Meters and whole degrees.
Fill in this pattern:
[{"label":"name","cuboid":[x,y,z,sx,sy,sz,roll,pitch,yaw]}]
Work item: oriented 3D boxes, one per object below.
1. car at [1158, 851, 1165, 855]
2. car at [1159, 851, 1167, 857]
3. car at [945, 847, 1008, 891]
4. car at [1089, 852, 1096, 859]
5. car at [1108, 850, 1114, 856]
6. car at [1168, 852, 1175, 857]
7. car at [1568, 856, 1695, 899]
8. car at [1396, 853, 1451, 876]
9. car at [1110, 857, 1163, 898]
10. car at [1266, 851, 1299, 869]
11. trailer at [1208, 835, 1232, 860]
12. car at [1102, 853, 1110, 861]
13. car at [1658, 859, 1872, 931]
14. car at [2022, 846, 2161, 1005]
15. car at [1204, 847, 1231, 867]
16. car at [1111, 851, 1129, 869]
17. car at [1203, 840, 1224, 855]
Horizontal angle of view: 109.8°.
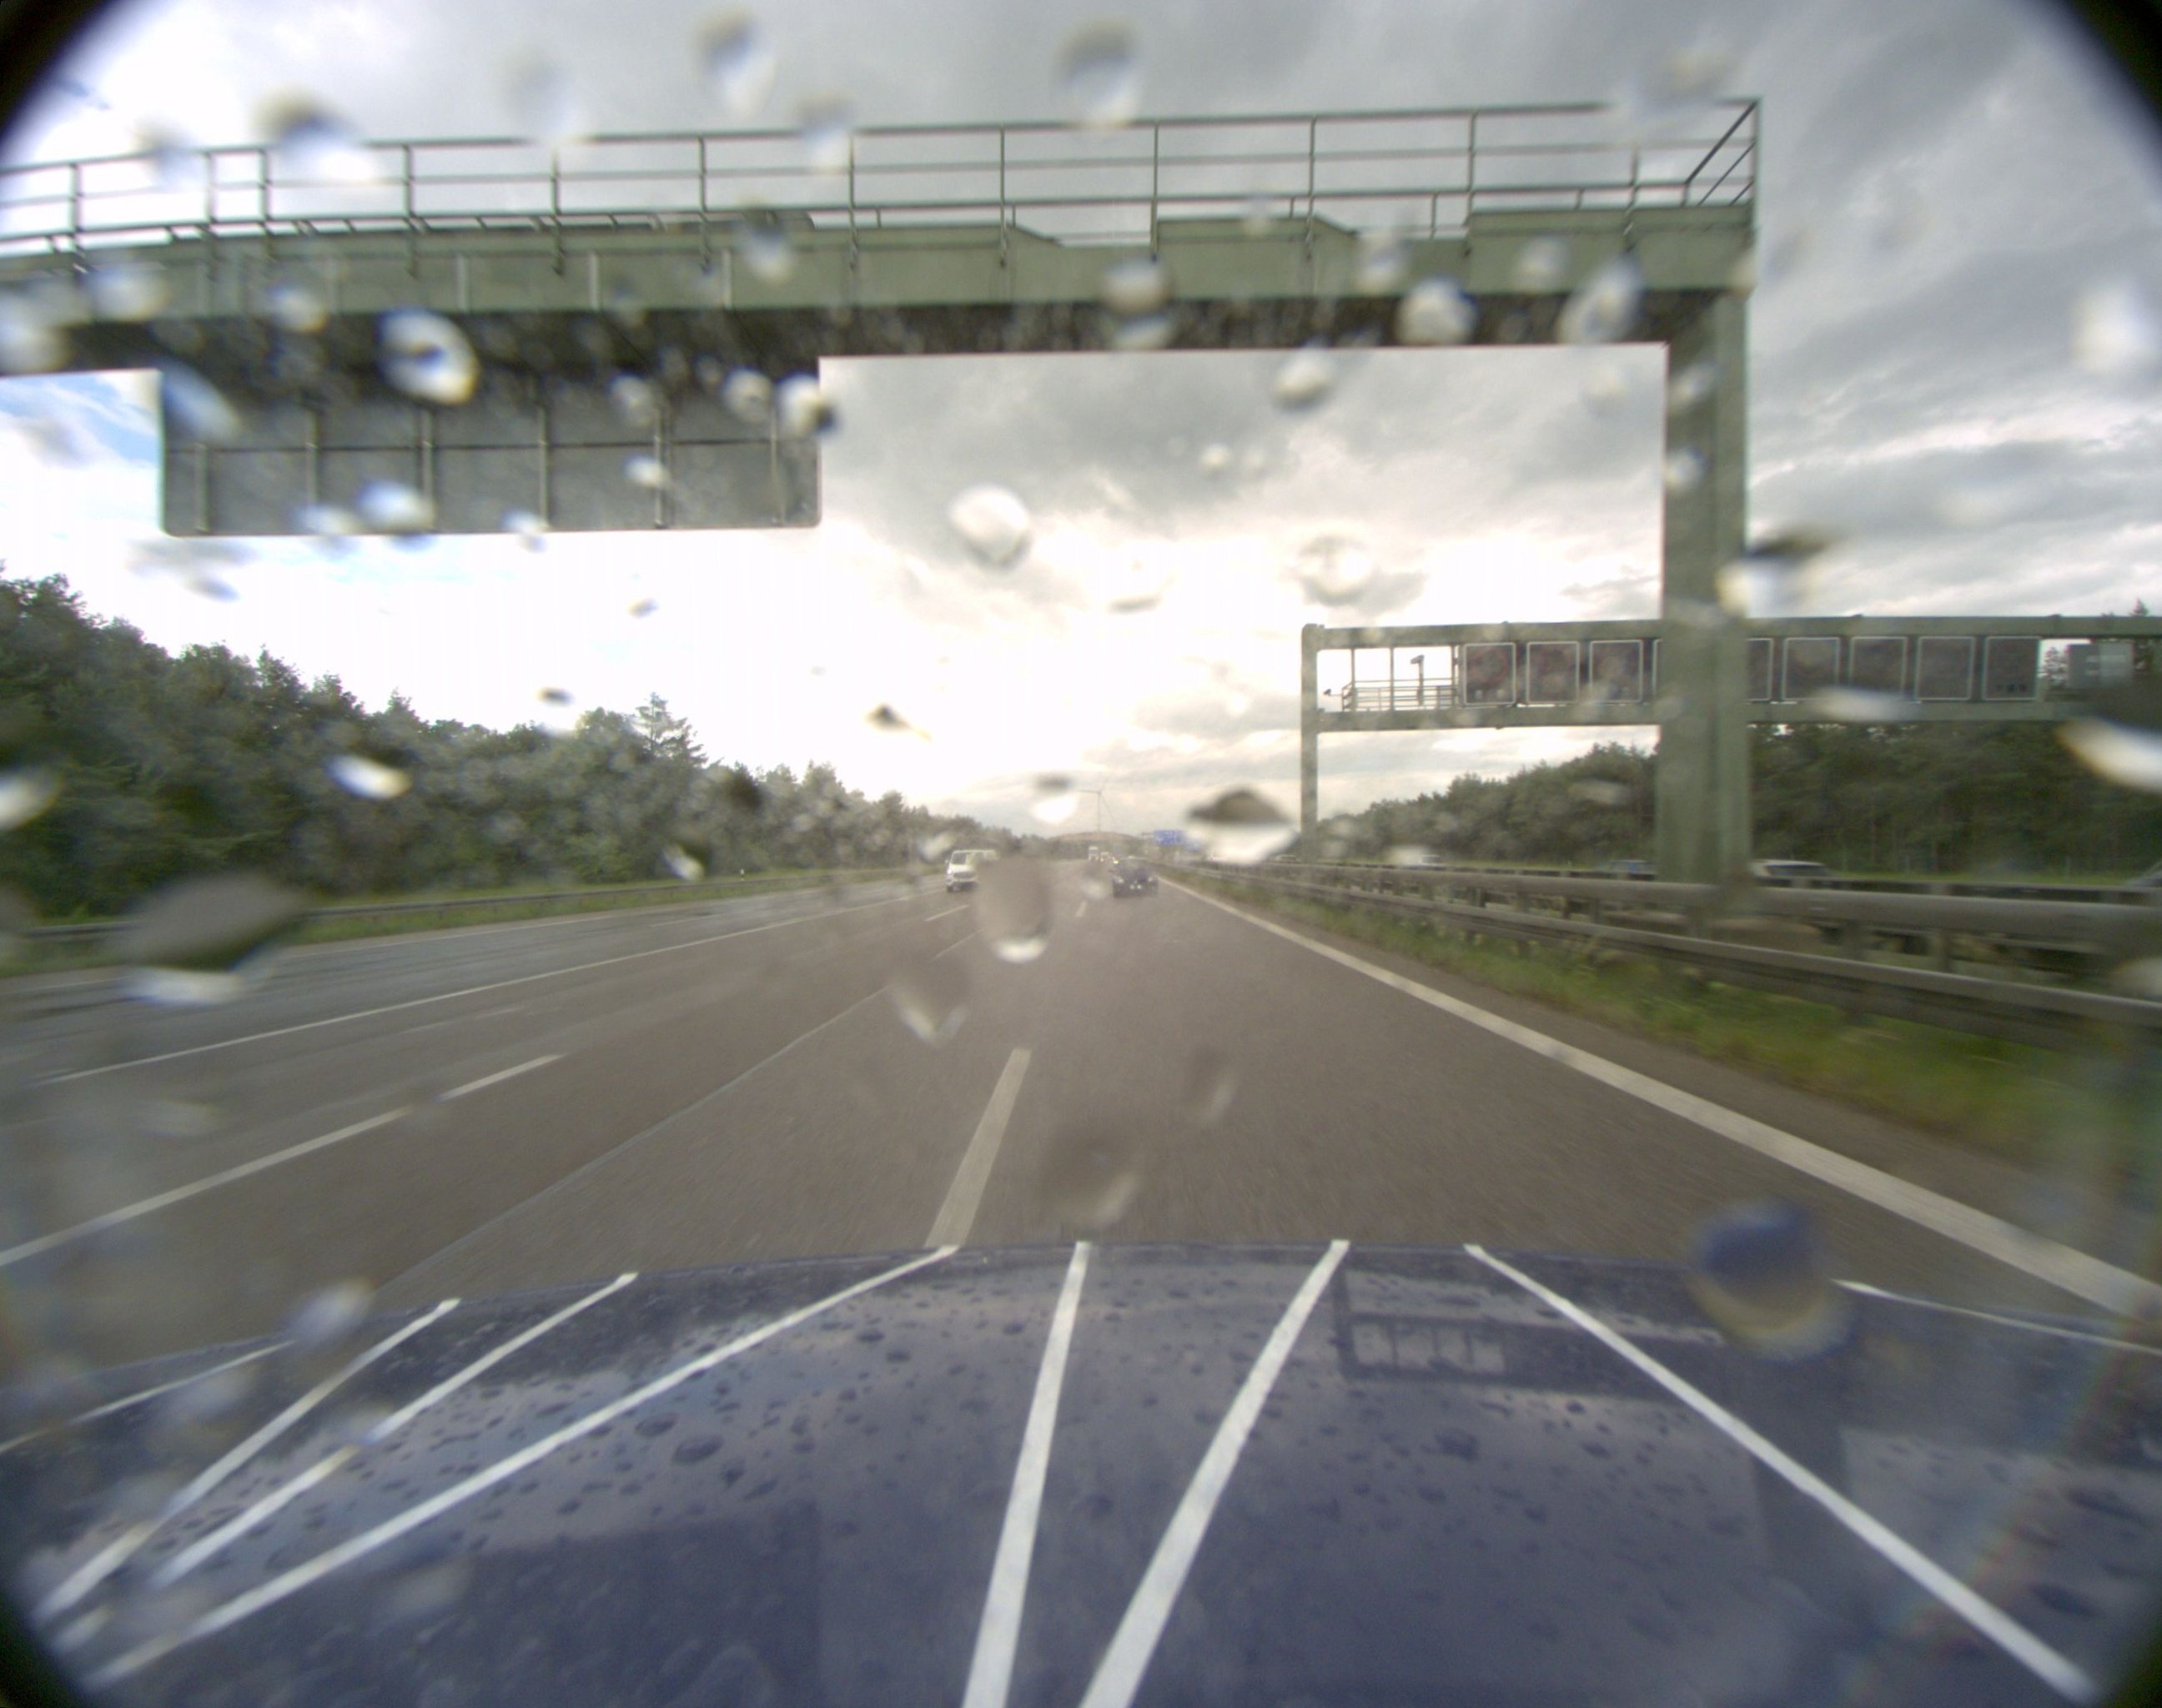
[{"label":"car","cuboid":[27.595,-0.305,260.944,1.920,1.356,4.653,-1,0,3]},{"label":"car","cuboid":[23.500,0.044,218.497,1.864,1.652,4.472,1,0,1]},{"label":"car","cuboid":[-5.181,0.714,38.326,1.998,2.002,5.484,-2,0,4]},{"label":"car","cuboid":[3.254,0.455,209.521,1.998,2.002,4.000,0,0,1]},{"label":"car","cuboid":[9.866,-0.344,250.598,1.998,2.002,4.000,0,0,1]},{"label":"car","cuboid":[30.570,0.141,257.239,1.920,1.448,4.653,-1,0,3]},{"label":"car","cuboid":[19.678,0.793,27.409,1.748,1.368,4.000,-1,0,1]},{"label":"car","cuboid":[20.326,0.614,45.232,1.629,1.250,3.841,-1,0,1]},{"label":"car","cuboid":[2.115,0.840,28.899,1.809,1.321,4.432,-2,1,4]},{"label":"car","cuboid":[16.911,0.446,64.020,1.676,1.451,4.562,0,0,2]},{"label":"trailer","cuboid":[24.743,-1.169,135.931,2.102,4.216,14.627,-3,0,3]},{"label":"car","cuboid":[6.441,0.785,193.207,1.998,2.002,4.000,0,0,1]},{"label":"car","cuboid":[14.902,0.823,16.842,1.498,1.368,3.704,-1,0,2]},{"label":"car","cuboid":[11.117,0.677,6.304,1.698,1.506,4.000,-1,0,1]},{"label":"car","cuboid":[13.671,0.301,76.100,1.902,1.857,4.898,0,0,1]},{"label":"car","cuboid":[4.665,0.681,90.709,1.998,2.002,4.001,-2,0,3]},{"label":"car","cuboid":[19.680,-0.965,113.310,2.288,2.002,6.740,-3,0,4]}]
